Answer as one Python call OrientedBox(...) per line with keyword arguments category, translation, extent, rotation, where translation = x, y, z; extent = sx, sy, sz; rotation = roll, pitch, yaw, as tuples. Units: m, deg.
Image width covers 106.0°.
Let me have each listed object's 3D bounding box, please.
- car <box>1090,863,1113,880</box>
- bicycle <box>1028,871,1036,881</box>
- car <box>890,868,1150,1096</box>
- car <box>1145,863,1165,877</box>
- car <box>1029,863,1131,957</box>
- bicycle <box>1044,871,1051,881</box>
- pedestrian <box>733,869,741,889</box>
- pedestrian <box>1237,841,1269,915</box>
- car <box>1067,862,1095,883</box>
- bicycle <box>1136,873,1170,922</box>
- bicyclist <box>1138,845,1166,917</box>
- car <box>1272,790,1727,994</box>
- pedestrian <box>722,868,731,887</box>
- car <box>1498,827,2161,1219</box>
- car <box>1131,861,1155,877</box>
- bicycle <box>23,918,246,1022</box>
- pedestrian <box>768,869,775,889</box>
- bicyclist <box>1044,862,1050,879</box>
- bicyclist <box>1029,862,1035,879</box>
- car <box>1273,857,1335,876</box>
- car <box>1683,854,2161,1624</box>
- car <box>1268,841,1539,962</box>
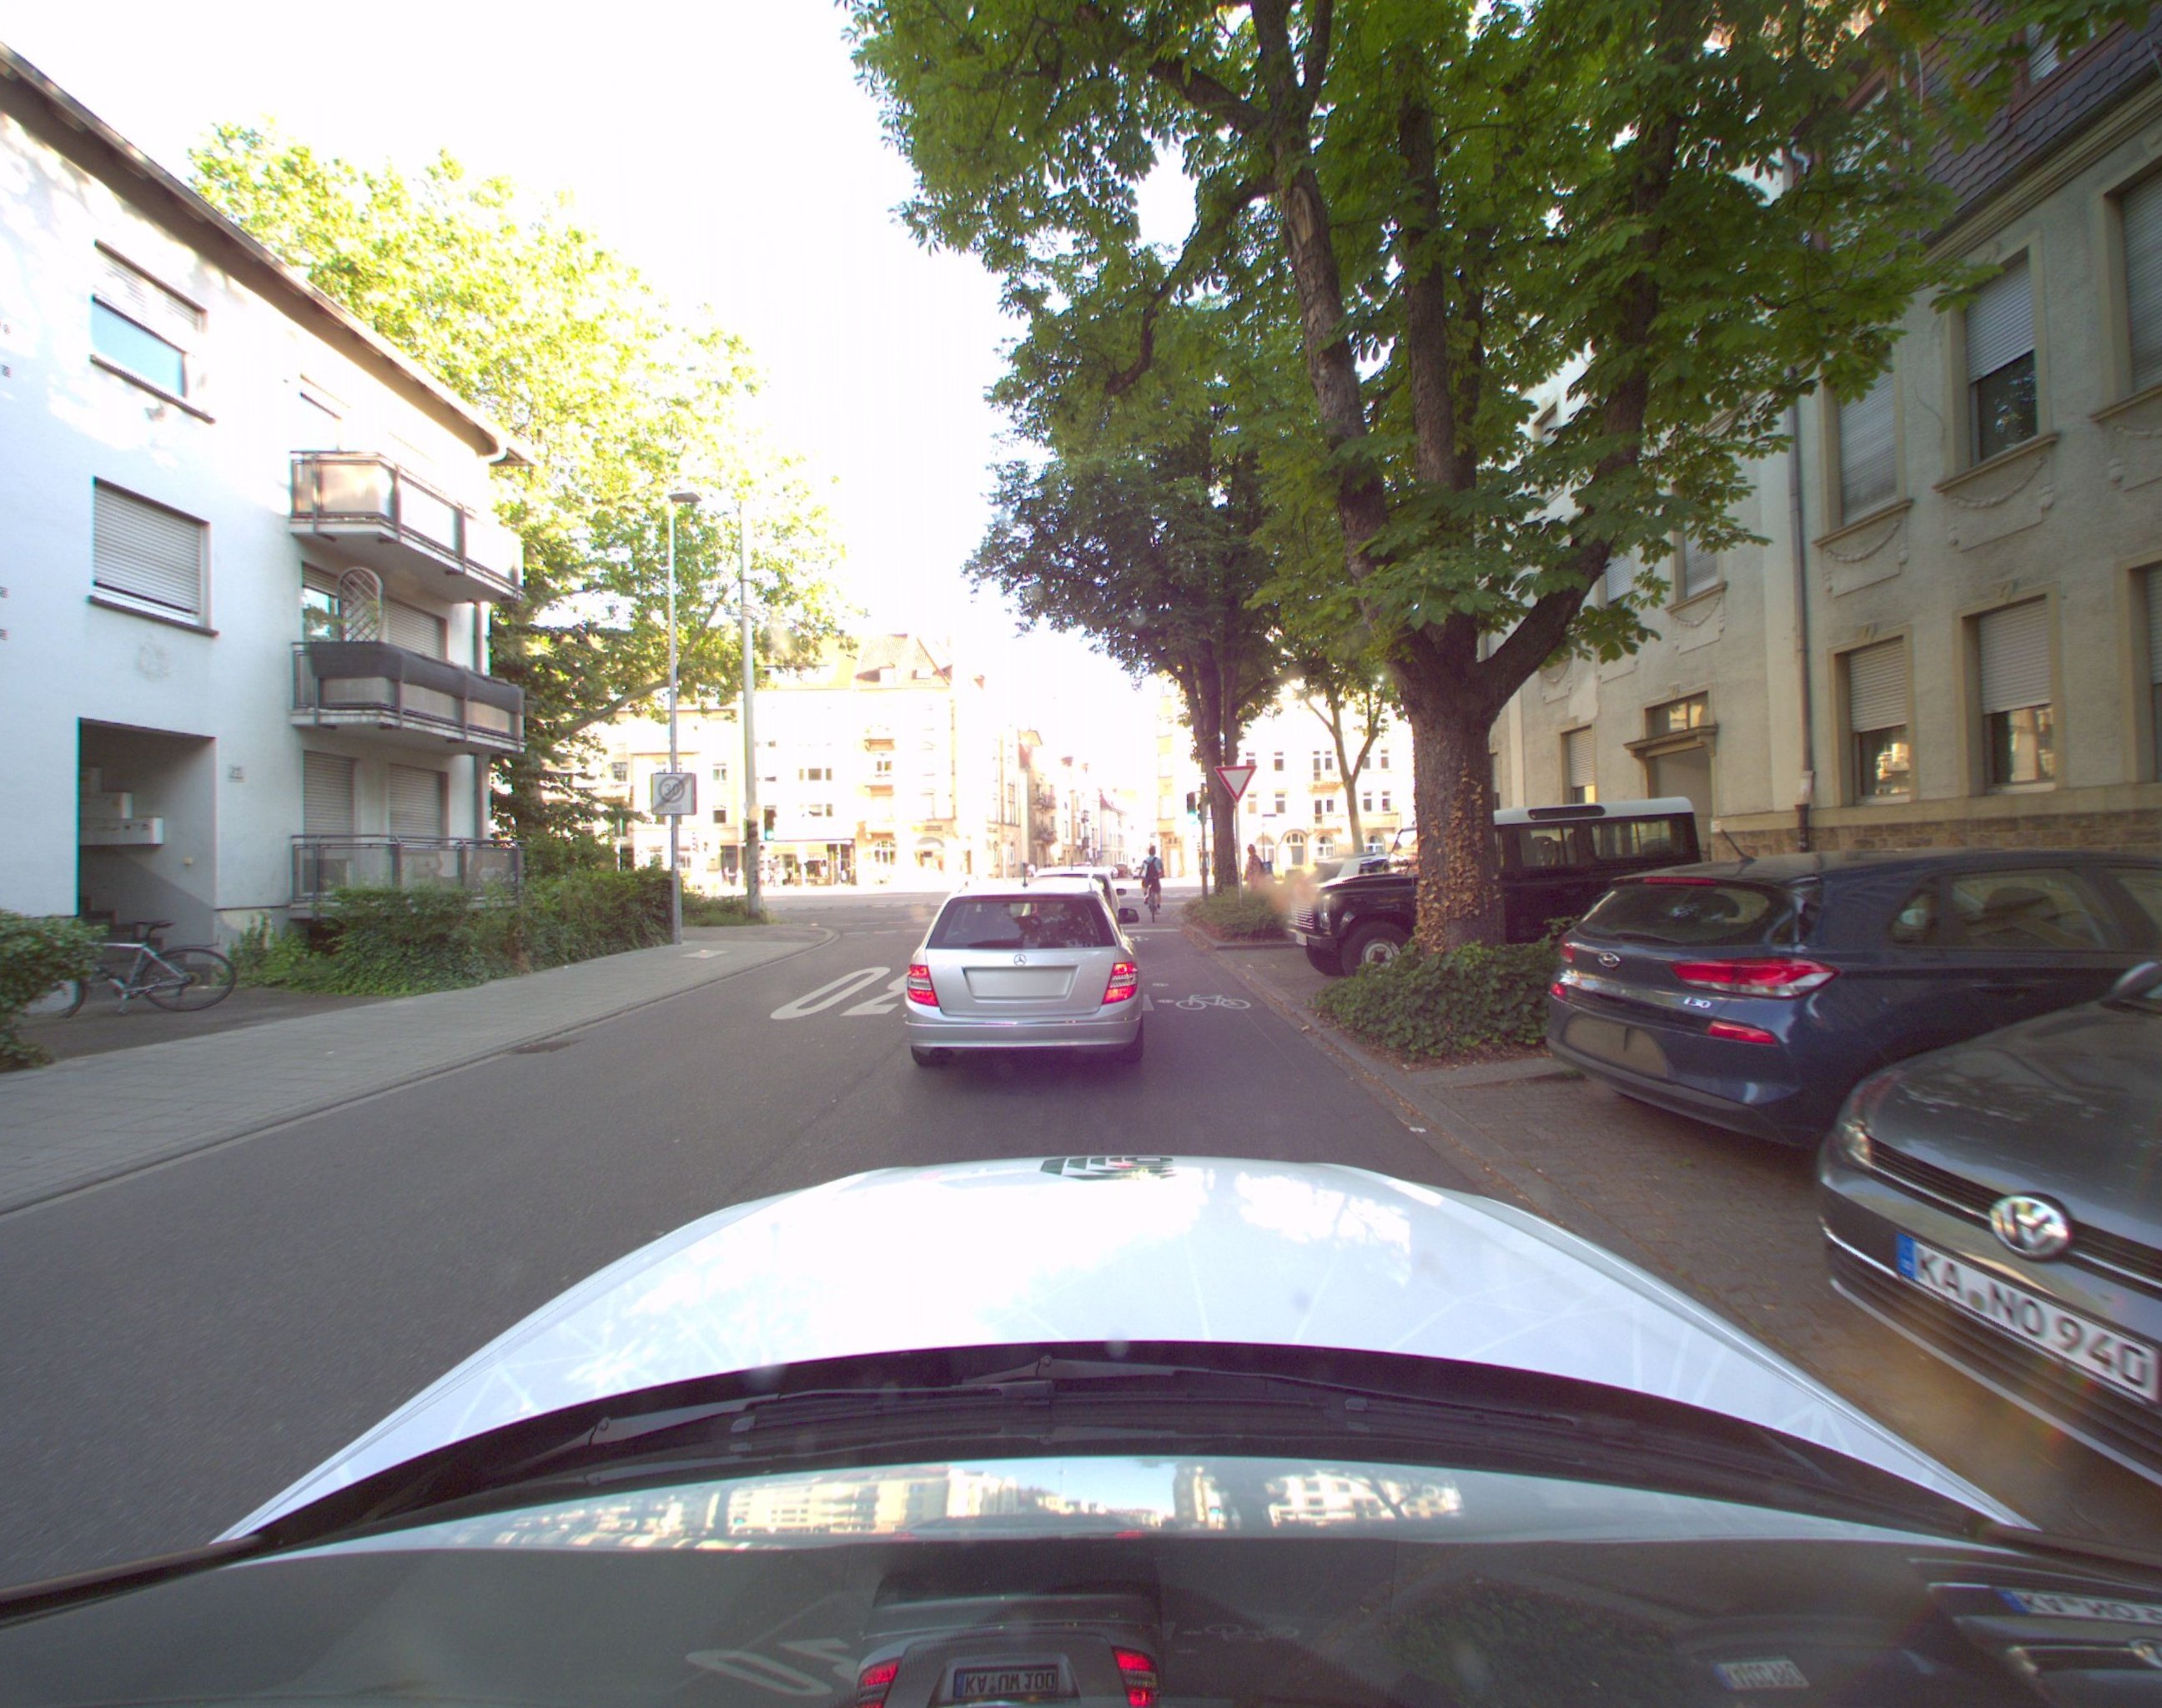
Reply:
OrientedBox(category="car", translation=(2.263, 1.841, 88.147), extent=(1.675, 1.722, 4.014), rotation=(-2, 0, 13))
OrientedBox(category="bicycle", translation=(-4.292, 1.940, 71.302), extent=(0.567, 0.834, 1.565), rotation=(-1, 0, -1))
OrientedBox(category="car", translation=(-0.410, 0.855, 7.035), extent=(1.685, 1.429, 3.491), rotation=(0, 0, -1))
OrientedBox(category="car", translation=(9.289, 2.000, 101.706), extent=(1.709, 1.478, 4.016), rotation=(-6, -1, 14))
OrientedBox(category="car", translation=(0.003, 0.868, 14.220), extent=(1.528, 1.391, 3.599), rotation=(-1, 0, 0))
OrientedBox(category="bicycle", translation=(-2.968, 1.903, 71.850), extent=(0.567, 0.834, 1.565), rotation=(-1, 0, -1))
OrientedBox(category="pedestrian", translation=(-27.115, 1.956, 64.156), extent=(0.510, 1.511, 0.532), rotation=(-1, -1, -24))
OrientedBox(category="pedestrian", translation=(4.421, 0.609, 20.932), extent=(0.630, 1.845, 0.574), rotation=(-1, -1, -2))
OrientedBox(category="car", translation=(0.034, 1.780, 79.478), extent=(1.926, 1.959, 4.161), rotation=(-2, 0, 10))
OrientedBox(category="bicycle", translation=(1.783, 1.069, 20.465), extent=(0.739, 1.118, 2.014), rotation=(0, 0, 2))
OrientedBox(category="bicyclist", translation=(1.784, 0.666, 20.468), extent=(0.644, 1.775, 0.831), rotation=(0, -1, 2))
OrientedBox(category="car", translation=(4.787, 0.416, 9.779), extent=(4.478, 1.956, 1.792), rotation=(-3, -1, -1))
OrientedBox(category="pedestrian", translation=(-27.760, 1.824, 63.818), extent=(0.566, 1.511, 0.499), rotation=(-1, -1, -17))
OrientedBox(category="car", translation=(4.417, 0.647, 4.109), extent=(3.739, 1.422, 1.627), rotation=(-3, -1, -1))
OrientedBox(category="car", translation=(6.504, 1.579, 85.503), extent=(1.708, 1.478, 4.016), rotation=(-3, 0, 14))
OrientedBox(category="bicycle", translation=(-10.013, 1.200, 8.692), extent=(1.469, 0.975, 0.402), rotation=(2, -2, -38))
OrientedBox(category="pedestrian", translation=(-24.552, 1.985, 64.625), extent=(0.474, 1.511, 0.428), rotation=(-1, -1, -18))
OrientedBox(category="bicyclist", translation=(-2.961, 1.432, 71.822), extent=(0.465, 1.521, 0.693), rotation=(-1, -1, -2))
OrientedBox(category="bicyclist", translation=(-4.321, 1.457, 71.403), extent=(0.465, 1.514, 0.655), rotation=(-1, -1, -2))
OrientedBox(category="car", translation=(13.370, 0.757, 48.976), extent=(3.352, 1.069, 1.380), rotation=(-1, -1, 0))
OrientedBox(category="car", translation=(4.058, 0.669, 1.926), extent=(4.037, 1.422, 1.627), rotation=(-3, -1, -1))
OrientedBox(category="car", translation=(4.898, 0.688, 12.670), extent=(3.475, 1.586, 1.708), rotation=(-3, -1, -5))
